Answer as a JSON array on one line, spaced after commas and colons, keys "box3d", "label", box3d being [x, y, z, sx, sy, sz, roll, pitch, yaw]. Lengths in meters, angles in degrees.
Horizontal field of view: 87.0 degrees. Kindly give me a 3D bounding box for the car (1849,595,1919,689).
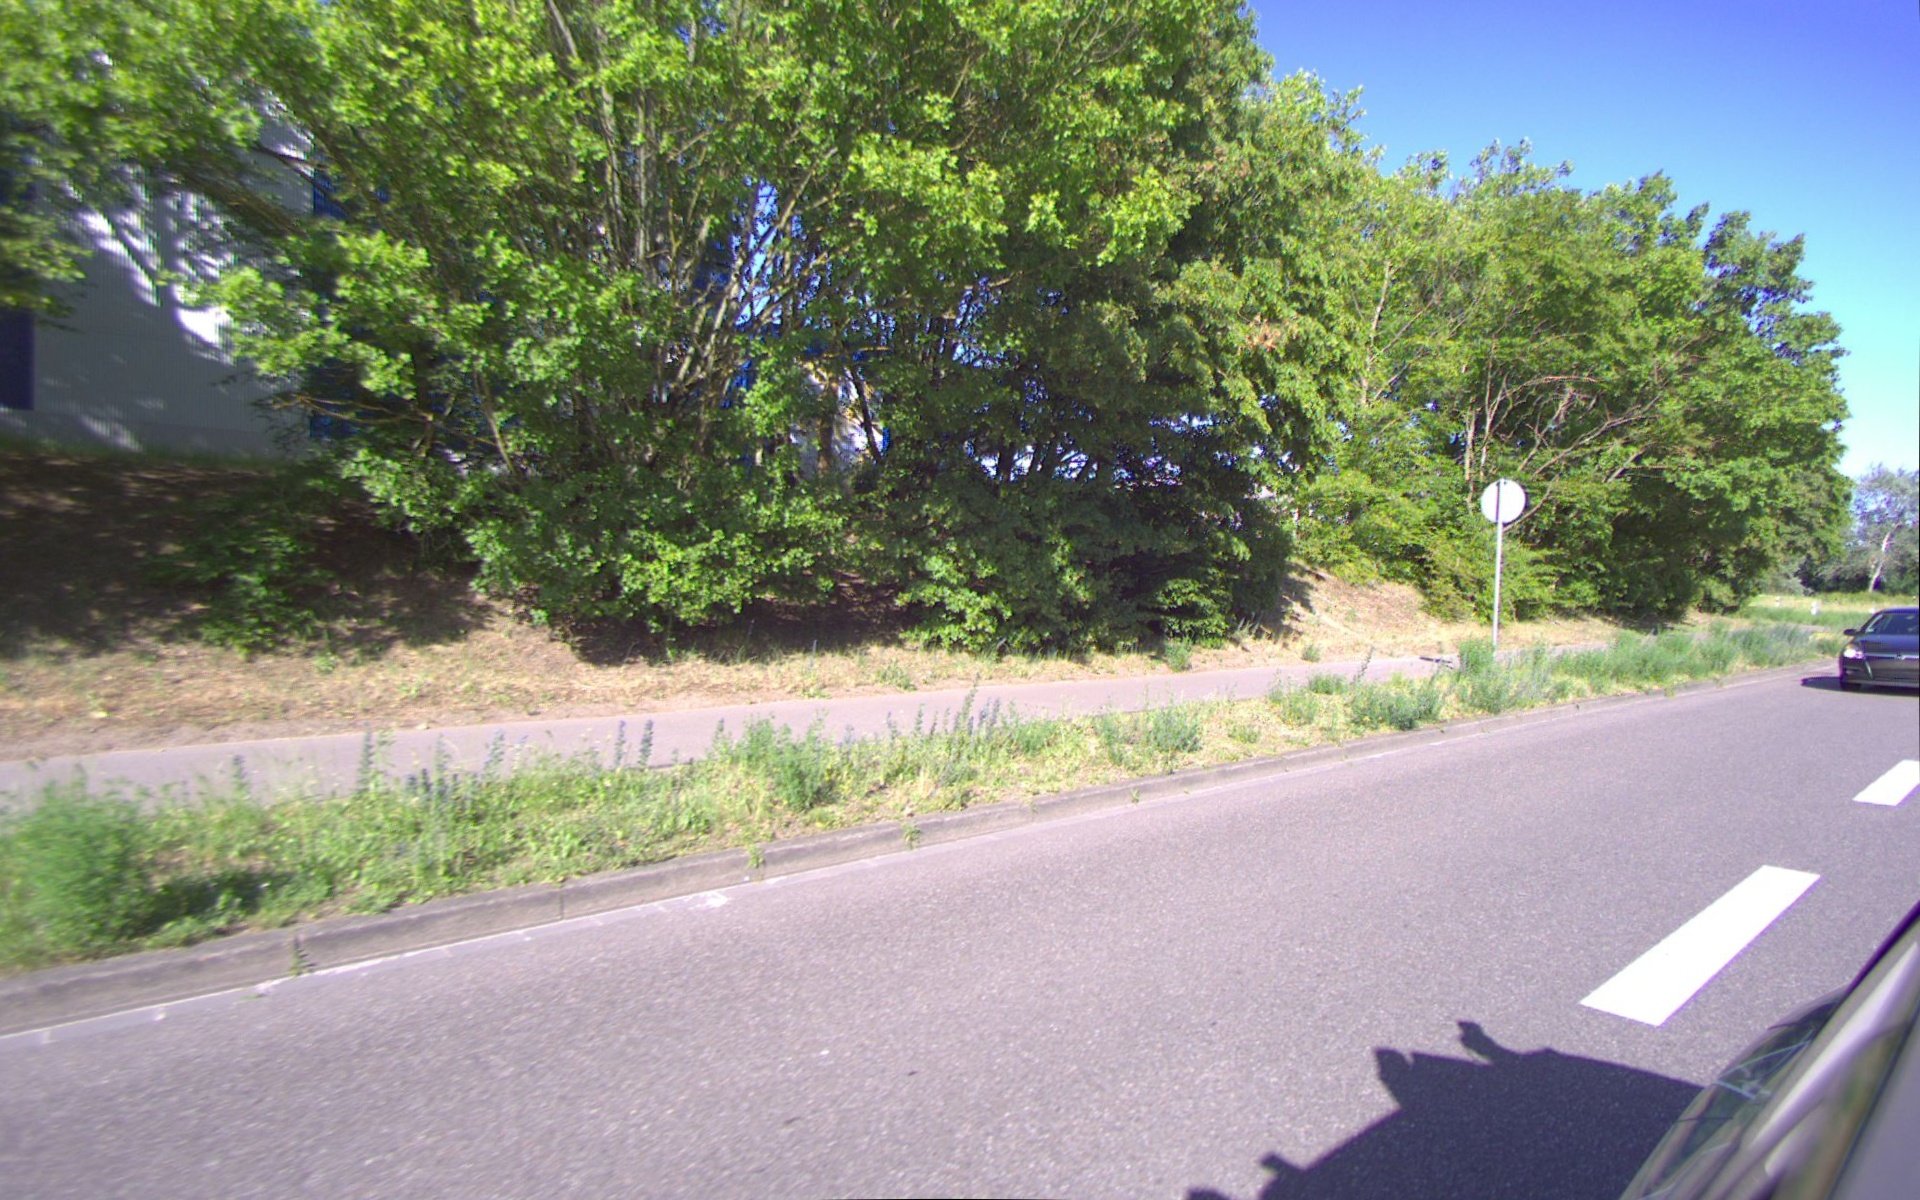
[{"box3d": [16.671, 0.666, 17.189, 3.887, 1.473, 1.706, 0, 1, -39], "label": "car"}]
